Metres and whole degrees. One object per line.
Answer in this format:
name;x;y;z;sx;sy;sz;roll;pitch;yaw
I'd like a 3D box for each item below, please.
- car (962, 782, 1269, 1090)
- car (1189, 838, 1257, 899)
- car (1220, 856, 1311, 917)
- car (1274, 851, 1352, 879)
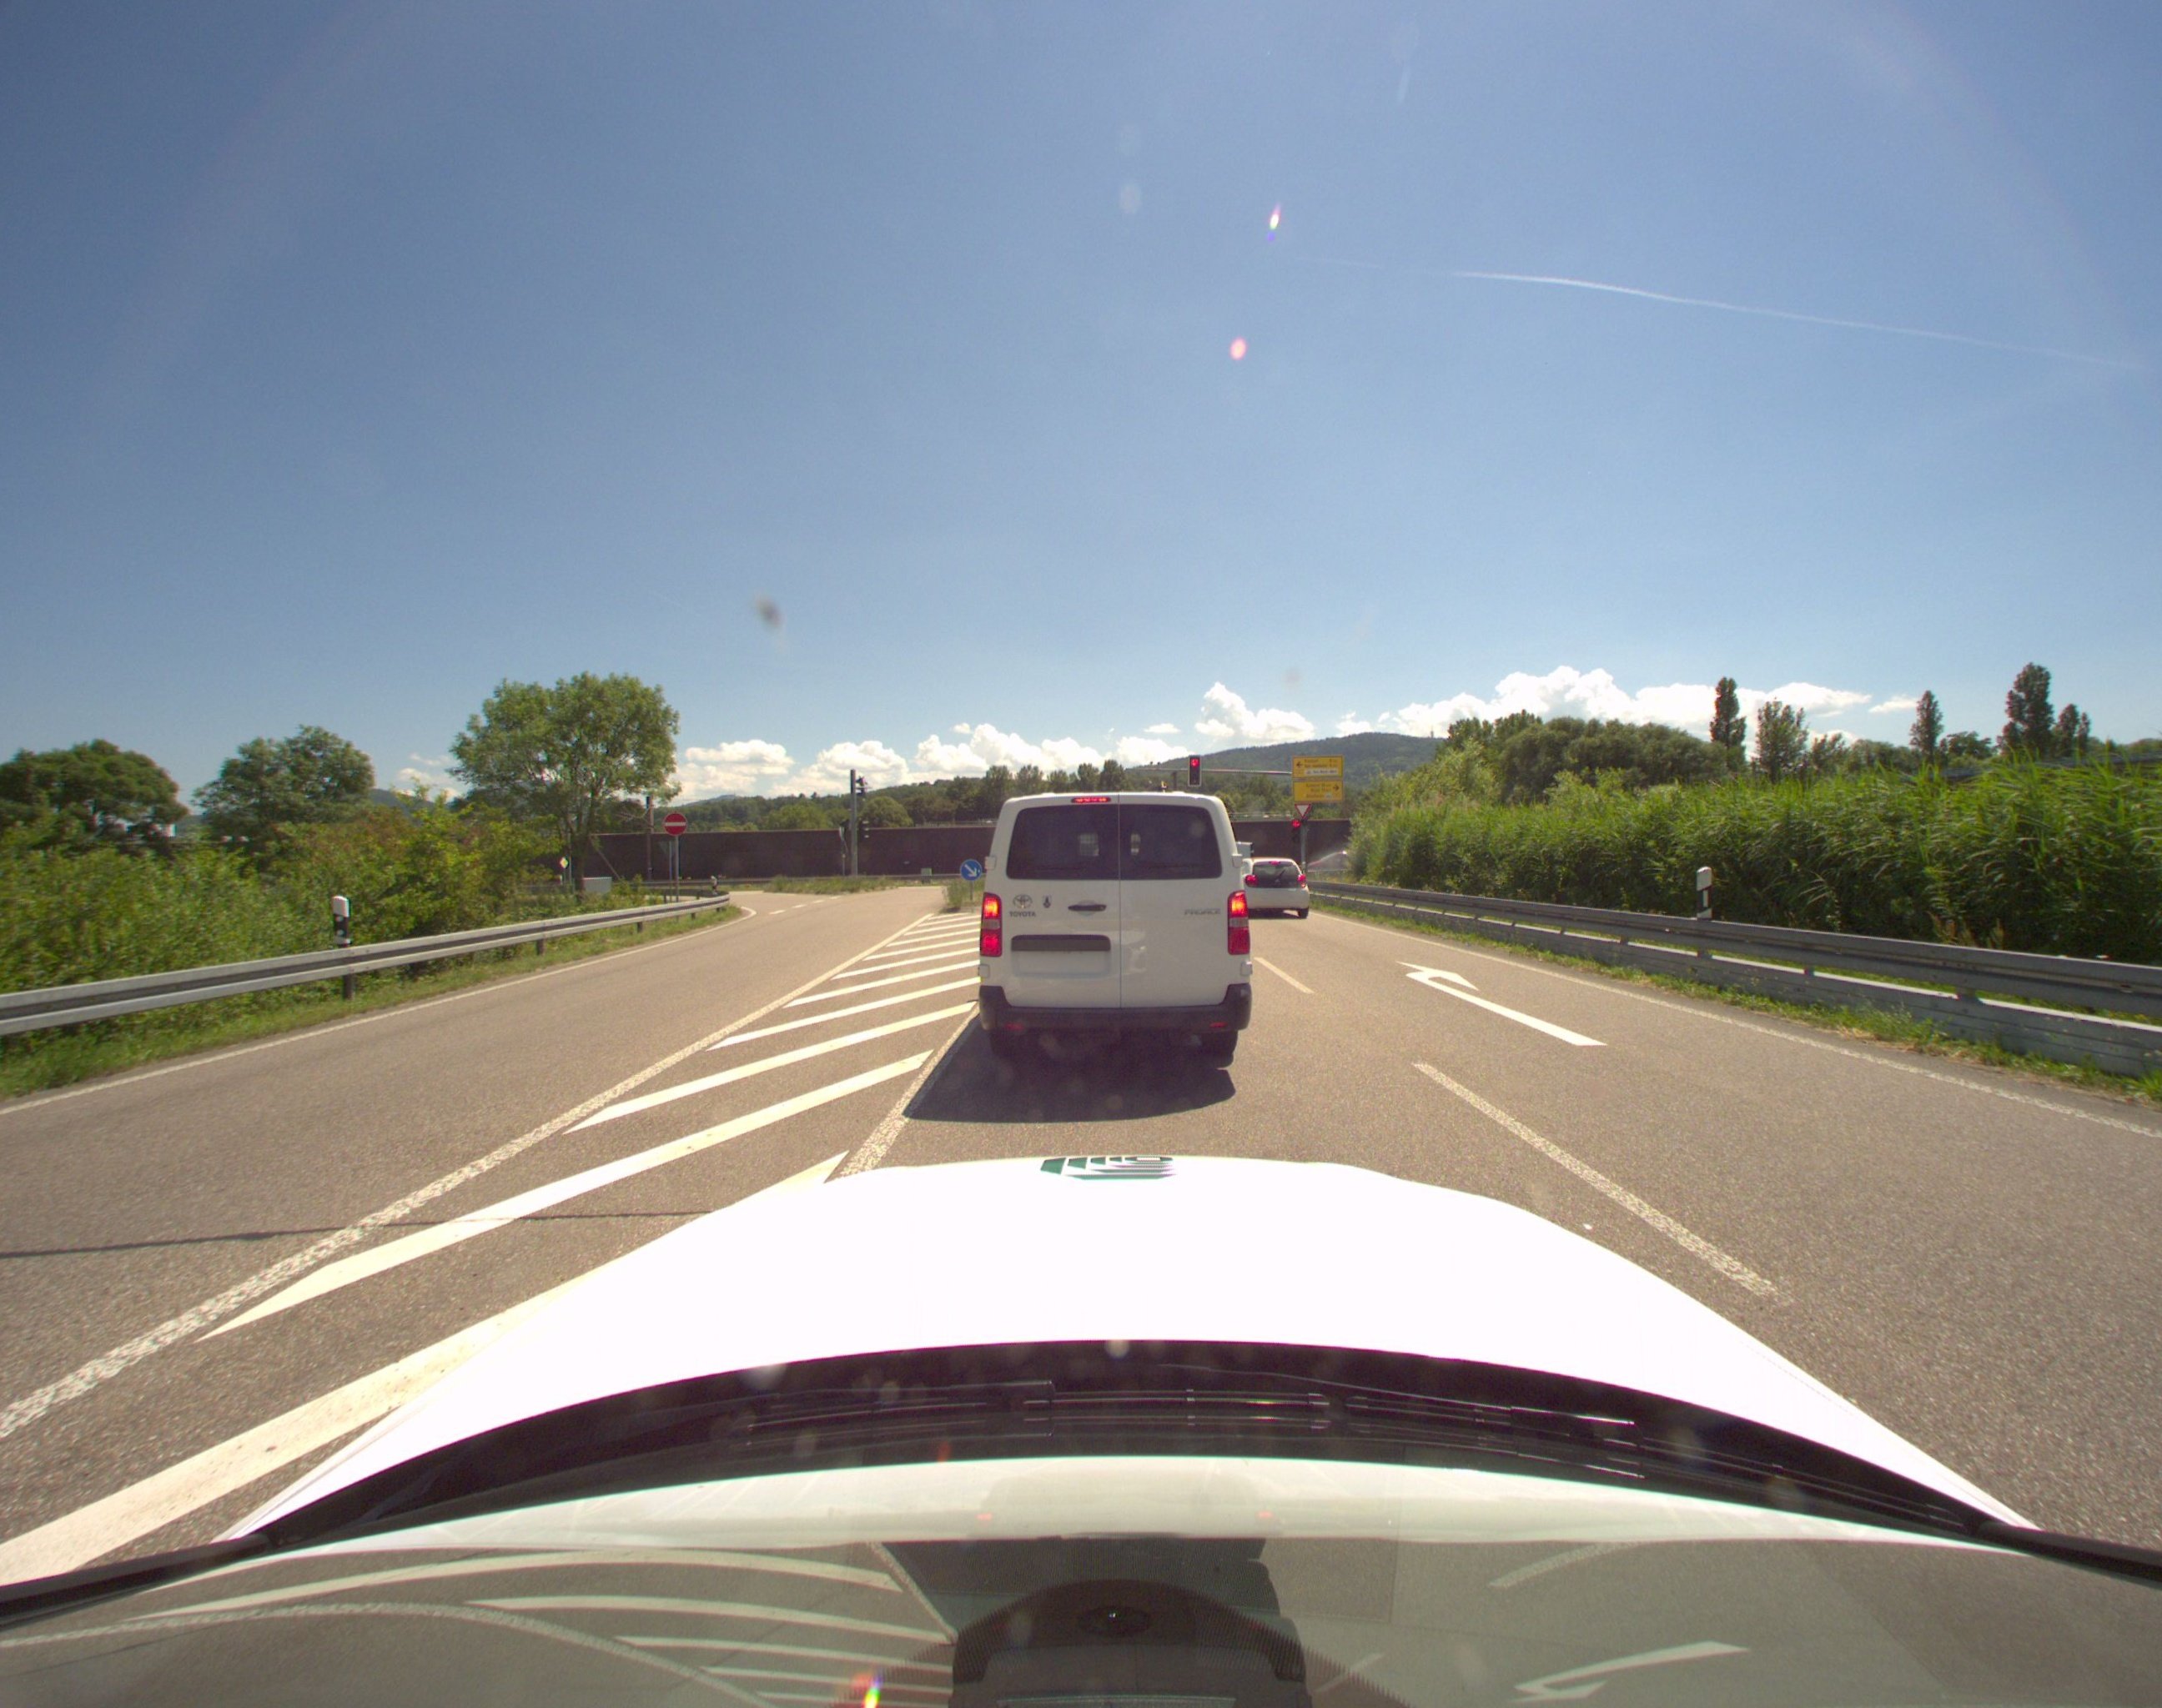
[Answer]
car;0.264;0.519;7.039;1.880;1.886;4.001;-1;0;1
car;5.038;0.507;29.512;1.920;2.000;4.842;-1;0;4
car;4.655;0.775;20.932;1.650;1.431;3.366;-1;0;1
car;14.429;0.700;50.901;4.298;1.656;1.999;-1;0;-2
